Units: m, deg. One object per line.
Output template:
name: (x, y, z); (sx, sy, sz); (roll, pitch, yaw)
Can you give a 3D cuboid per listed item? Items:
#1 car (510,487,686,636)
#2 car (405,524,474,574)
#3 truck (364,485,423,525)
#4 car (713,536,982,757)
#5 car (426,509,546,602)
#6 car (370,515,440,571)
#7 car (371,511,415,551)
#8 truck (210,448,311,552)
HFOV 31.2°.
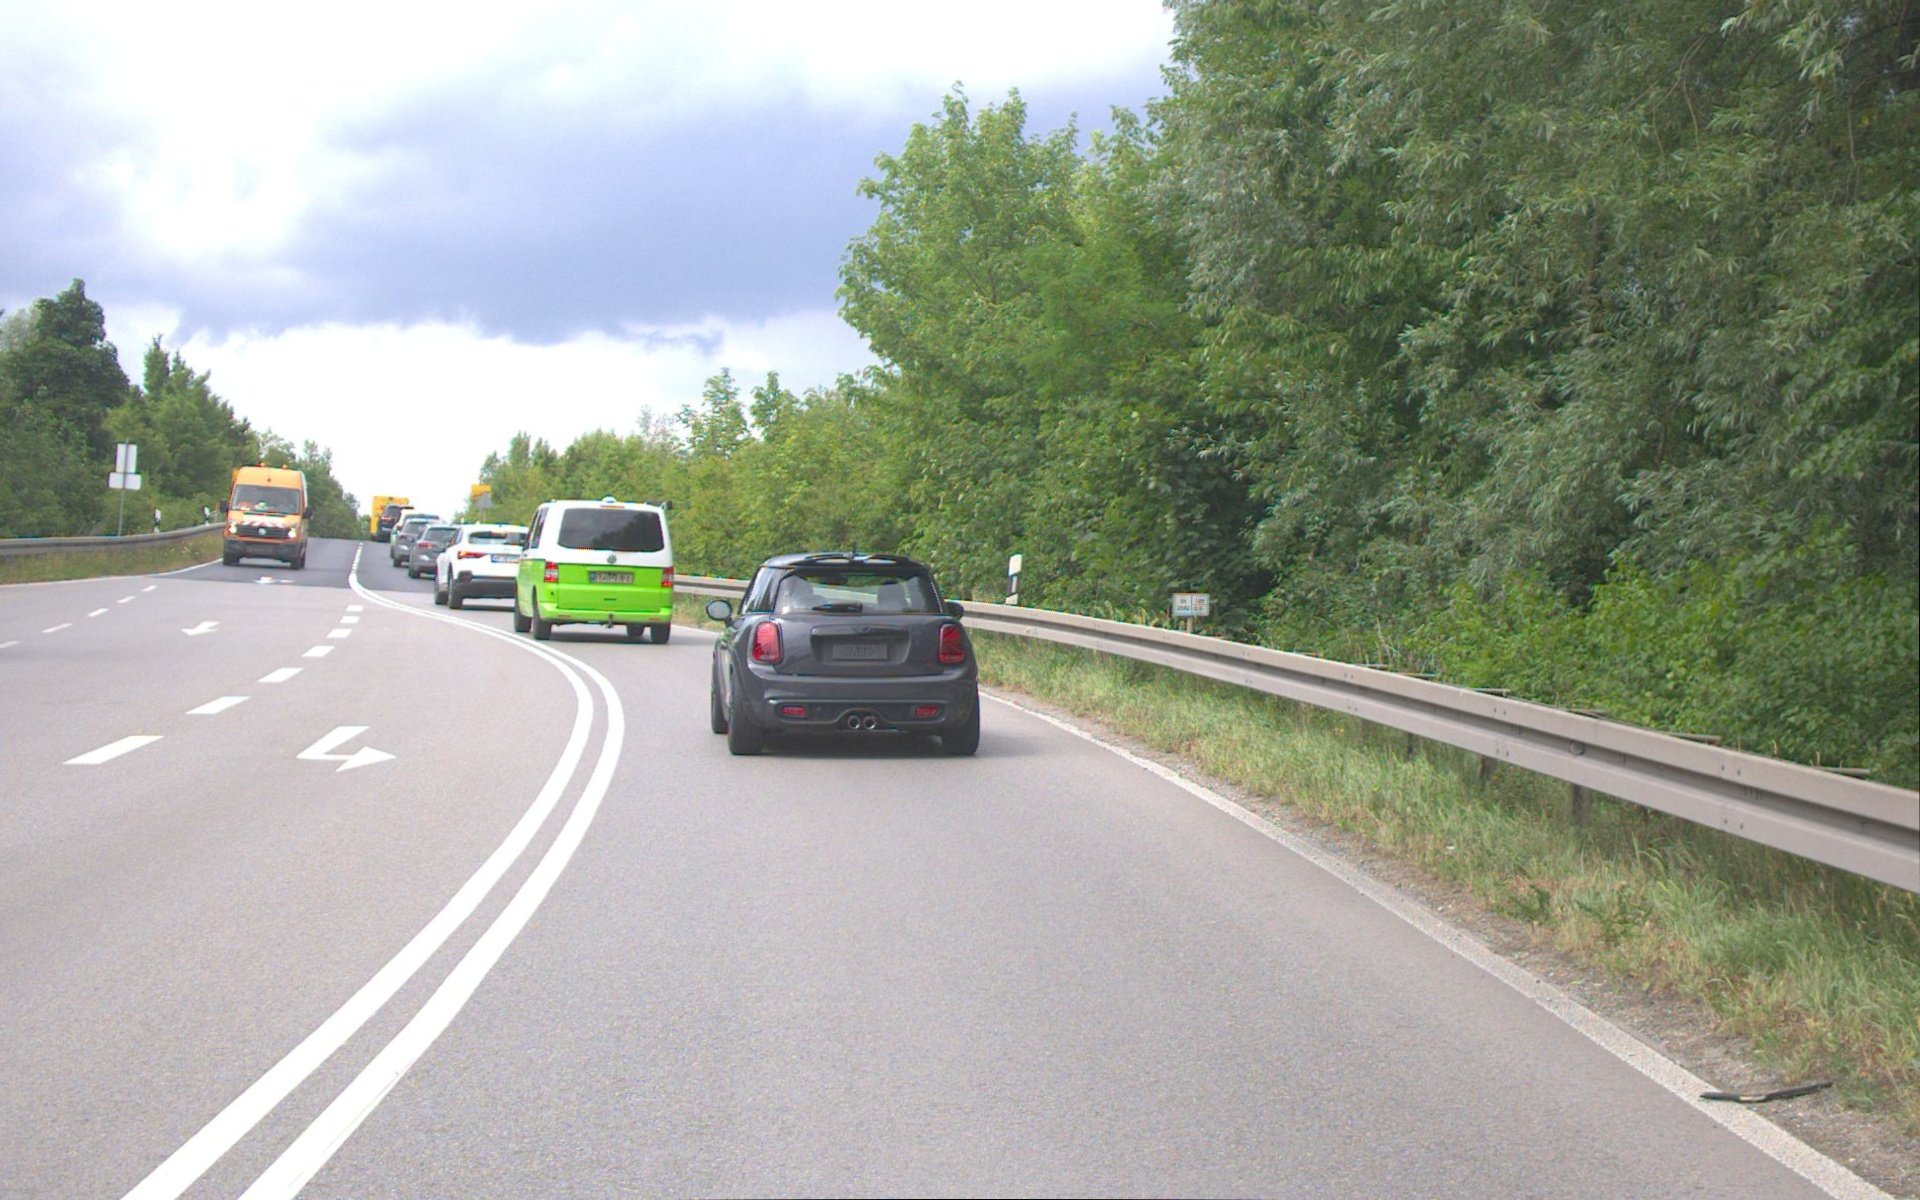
car: (-5.145, -0.572, 48.461); (2.021, 2.006, 4.001); (0, 2, -12)
car: (-13.232, -1.318, 87.531); (1.694, 1.218, 4.001); (0, 1, -8)
truck: (-34.992, -5.875, 212.665); (2.909, 2.364, 10.454); (1, 1, -6)
car: (-0.902, 0.281, 25.278); (1.732, 1.451, 4.001); (1, 1, -5)
car: (-8.736, -0.844, 63.131); (1.987, 1.613, 4.155); (0, 2, -10)
car: (-16.436, -1.691, 101.950); (1.879, 1.612, 4.001); (0, 1, -7)
car: (-26.495, -3.215, 160.581); (1.993, 1.792, 4.001); (1, 1, -9)
truck: (-18.329, -2.628, 90.318); (2.315, 2.592, 6.025); (1, 2, -9)
